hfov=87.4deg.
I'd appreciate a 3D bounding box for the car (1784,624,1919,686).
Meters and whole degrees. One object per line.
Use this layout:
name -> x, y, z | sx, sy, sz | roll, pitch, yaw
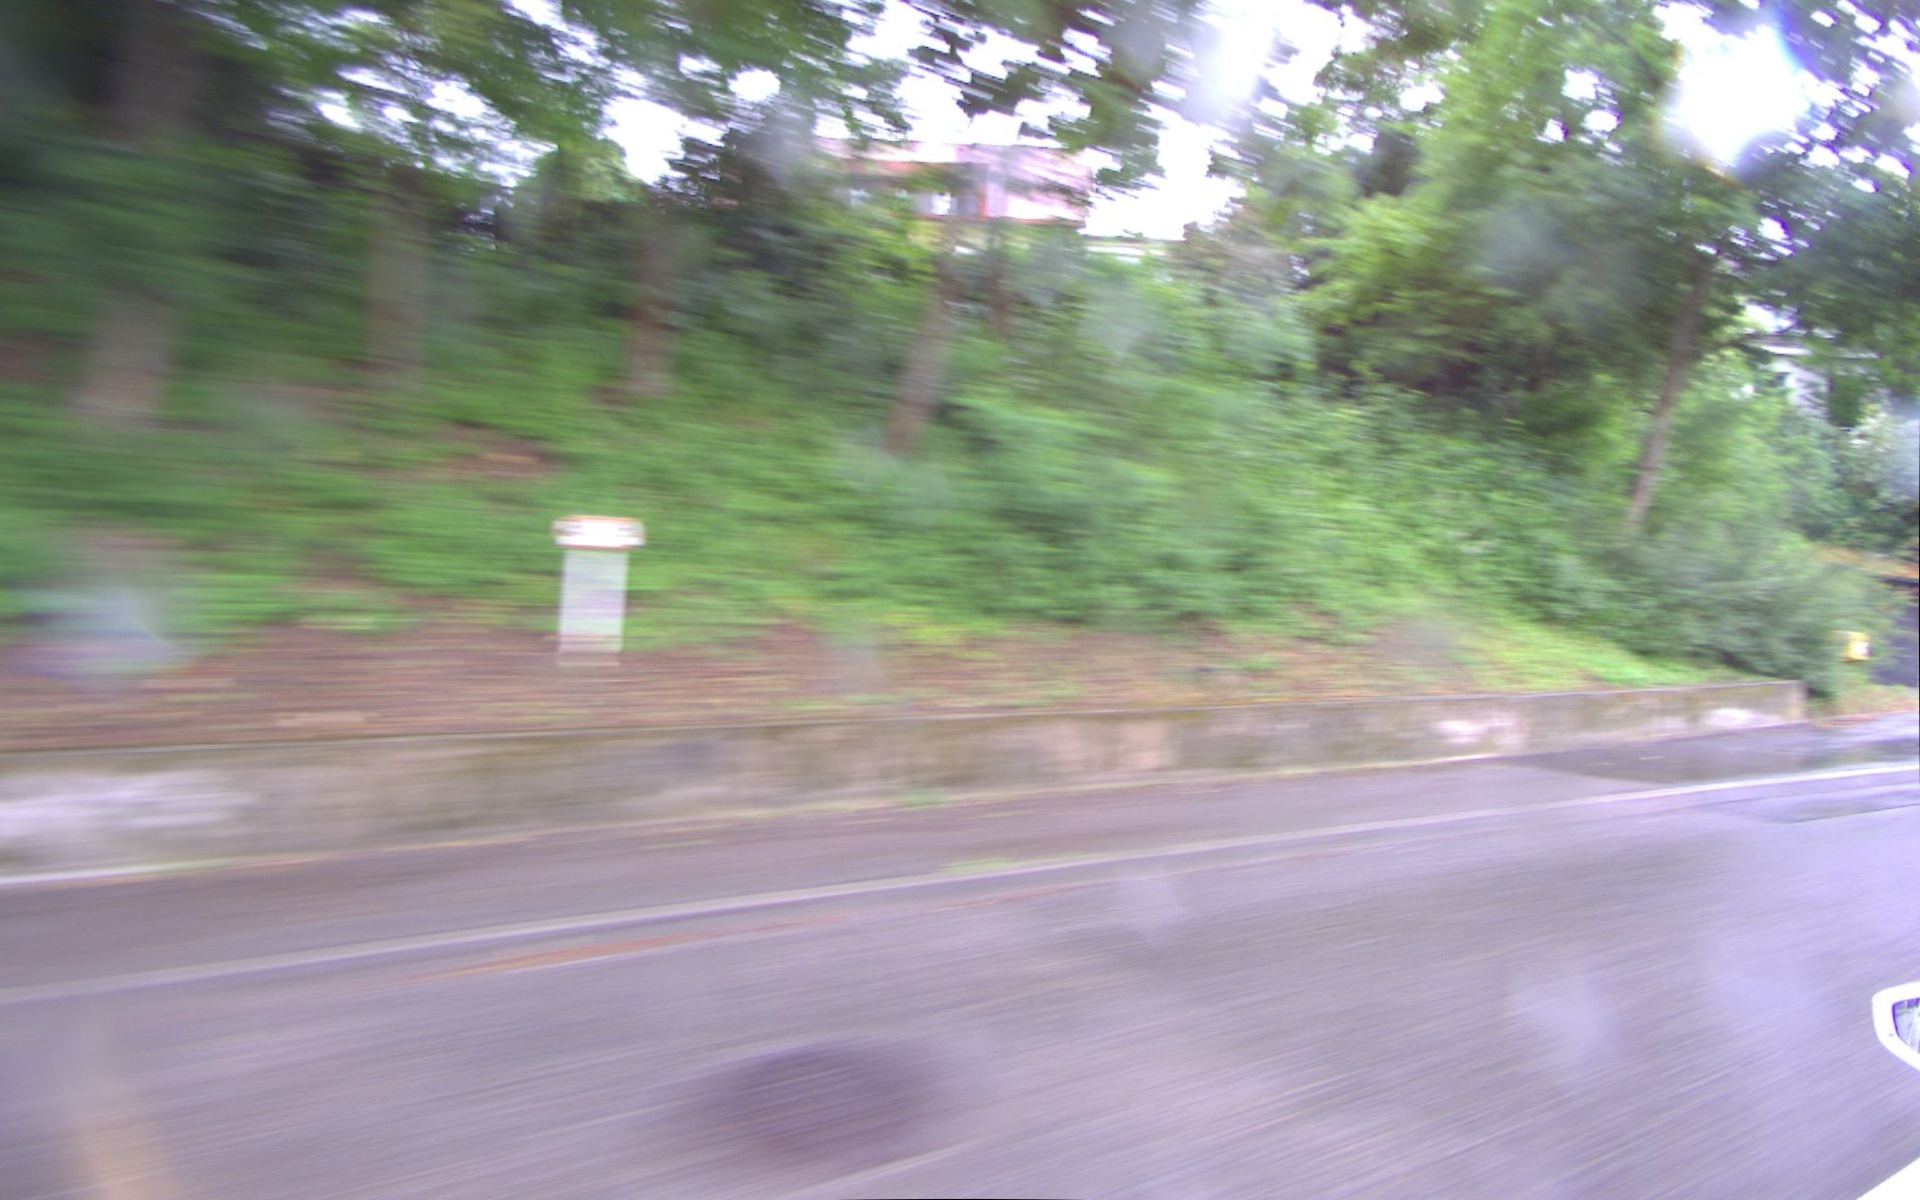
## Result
car -> 24.058, 1.390, 25.952 | 1.847, 1.523, 3.988 | 1, -1, -15
